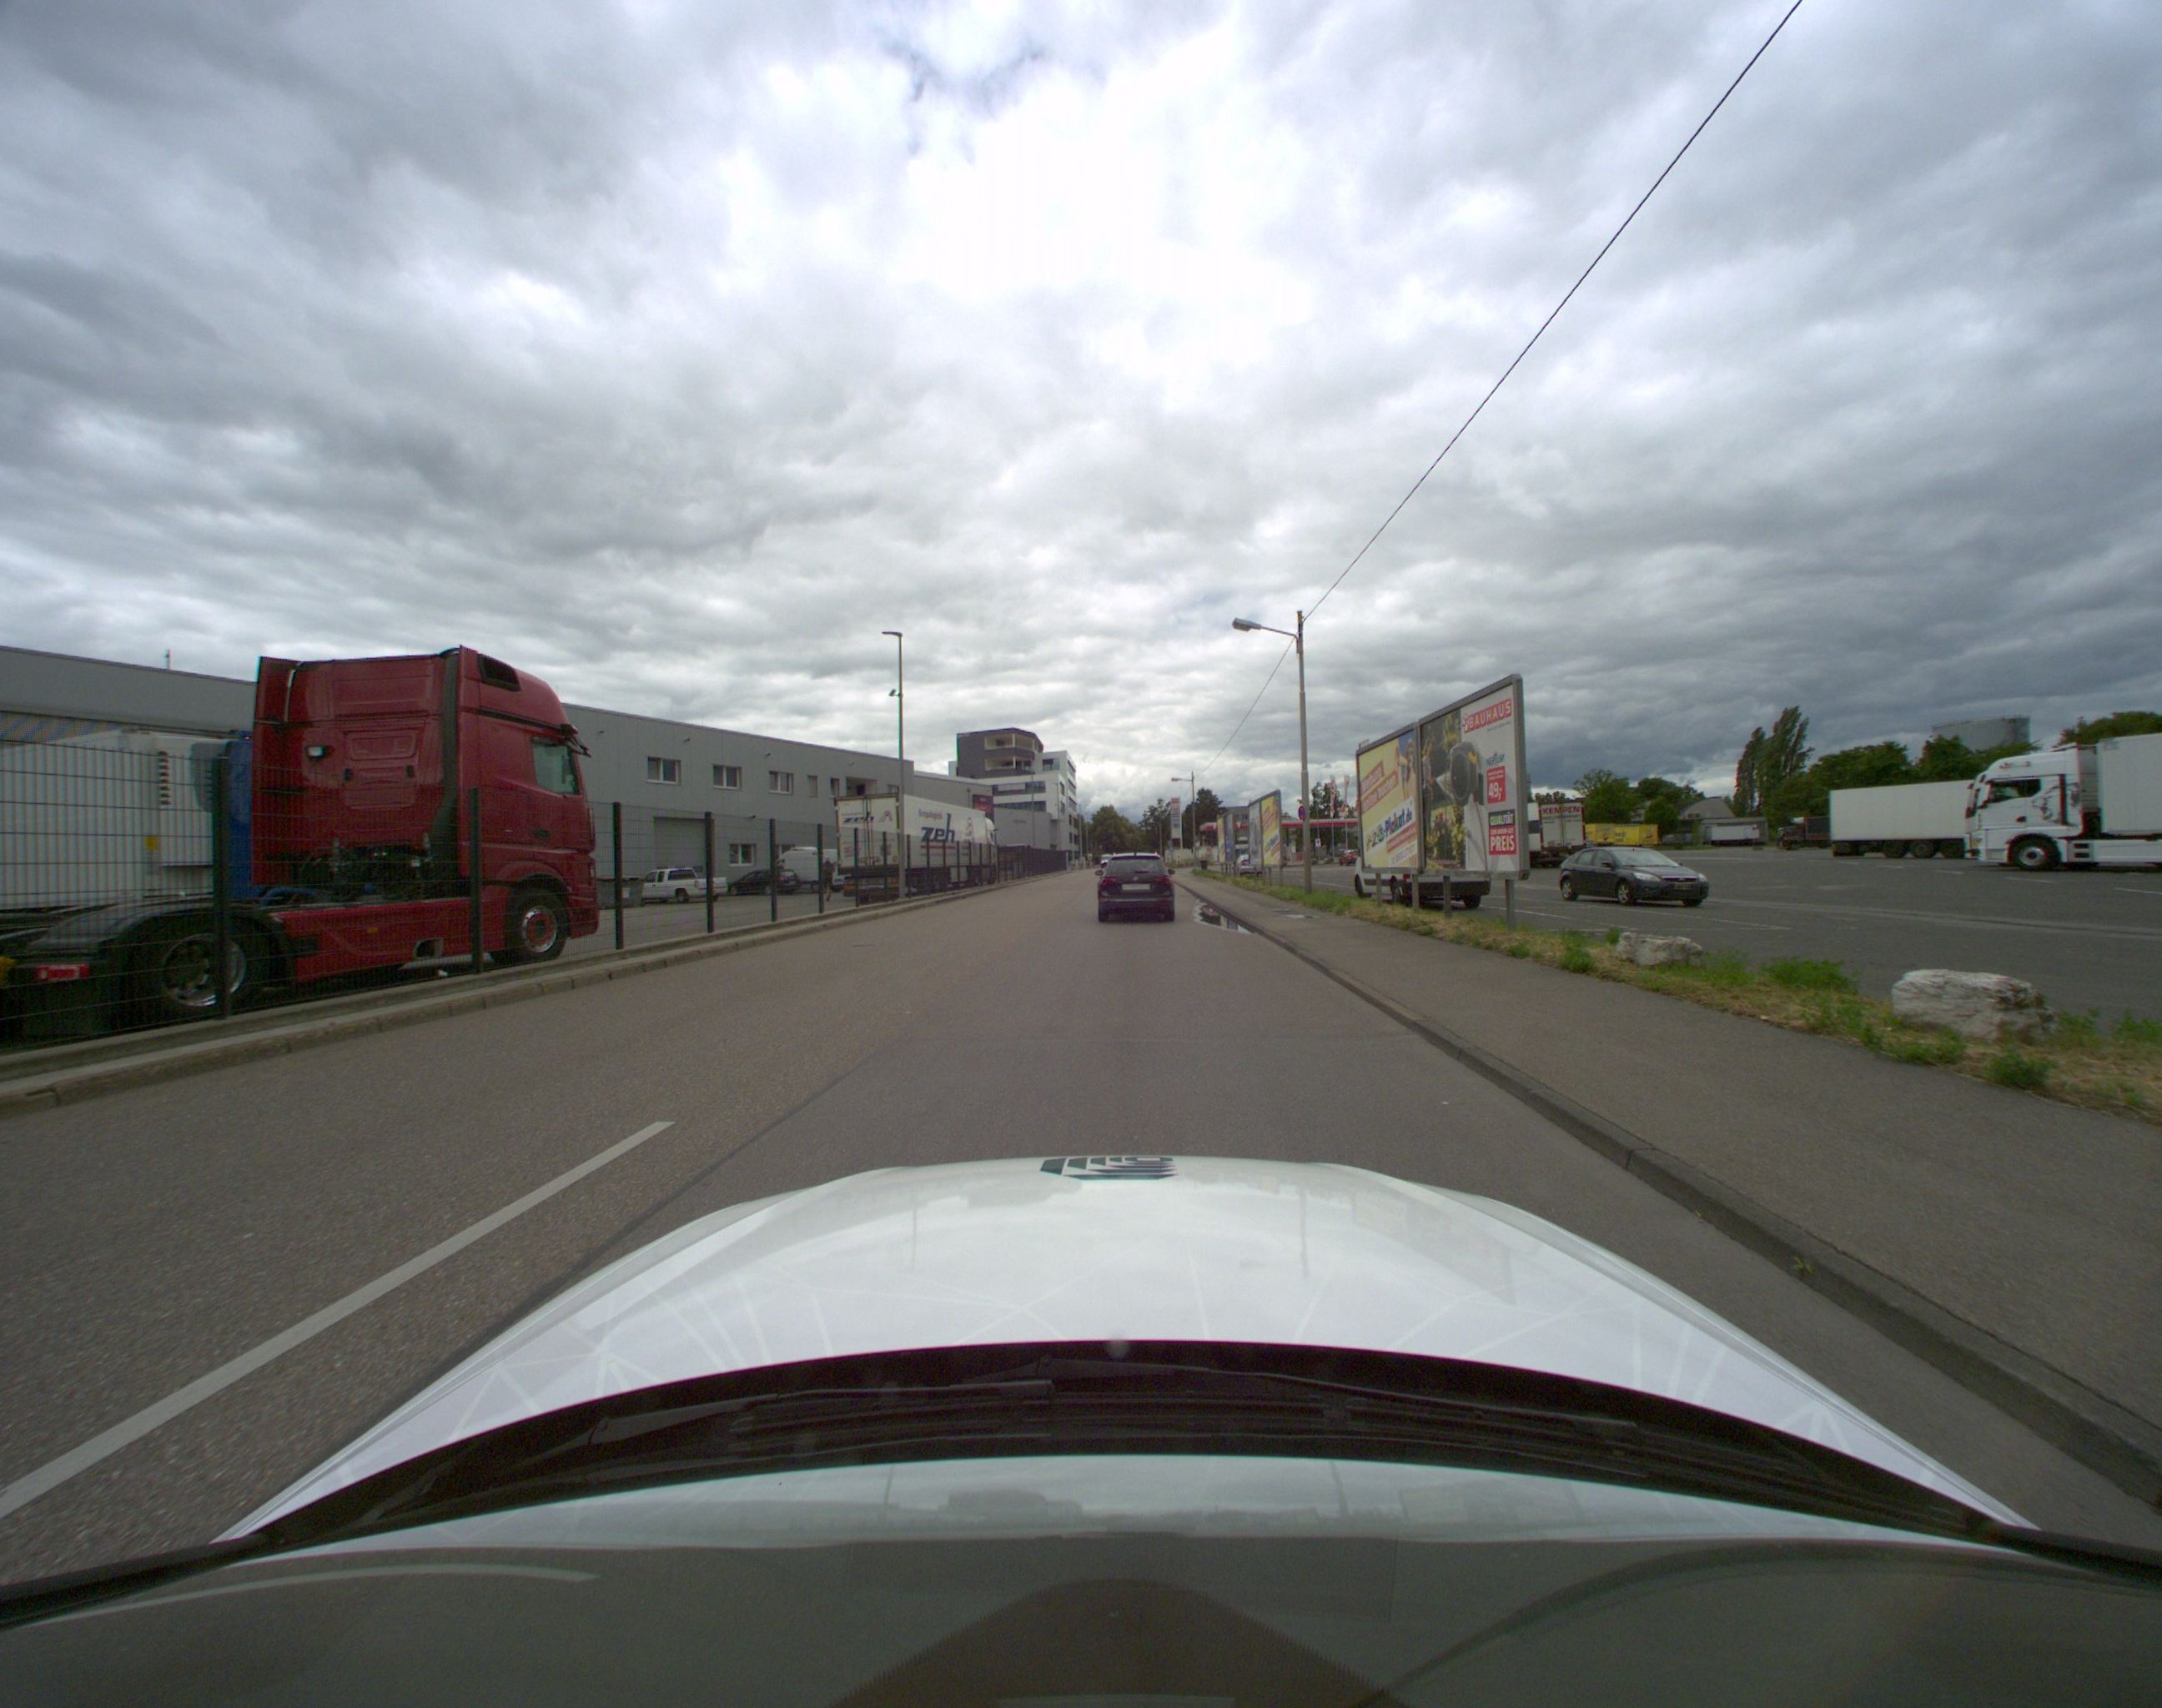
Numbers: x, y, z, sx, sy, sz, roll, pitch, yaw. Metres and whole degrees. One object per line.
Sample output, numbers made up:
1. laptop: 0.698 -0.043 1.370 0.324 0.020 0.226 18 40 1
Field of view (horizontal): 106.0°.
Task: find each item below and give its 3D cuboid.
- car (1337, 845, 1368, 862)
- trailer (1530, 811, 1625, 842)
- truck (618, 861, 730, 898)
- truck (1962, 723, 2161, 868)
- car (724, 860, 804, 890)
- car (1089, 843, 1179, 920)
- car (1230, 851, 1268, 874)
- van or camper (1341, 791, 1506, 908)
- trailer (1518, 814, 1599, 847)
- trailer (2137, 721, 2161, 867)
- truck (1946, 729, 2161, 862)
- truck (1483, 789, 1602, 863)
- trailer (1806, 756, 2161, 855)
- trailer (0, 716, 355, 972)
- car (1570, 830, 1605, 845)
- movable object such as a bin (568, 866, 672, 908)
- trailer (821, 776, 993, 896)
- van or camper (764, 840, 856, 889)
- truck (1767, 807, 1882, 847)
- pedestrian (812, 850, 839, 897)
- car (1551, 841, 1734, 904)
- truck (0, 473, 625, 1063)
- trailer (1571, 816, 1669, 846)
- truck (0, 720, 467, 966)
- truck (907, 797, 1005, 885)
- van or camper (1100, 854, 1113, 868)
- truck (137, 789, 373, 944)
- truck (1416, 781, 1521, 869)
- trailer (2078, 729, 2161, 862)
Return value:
1. car: 27.749 -0.056 83.379 1.986 1.706 4.002 -2 0 2
2. trailer: 68.725 -3.710 113.588 3.581 3.863 18.052 -2 1 5
3. truck: -19.945 1.262 39.889 4.869 1.652 2.240 -2 0 23
4. truck: 31.948 -1.778 26.123 2.781 4.215 4.138 -2 1 -12
5. car: -18.272 1.220 46.915 3.952 1.552 2.011 -2 0 23
6. car: 1.336 0.632 20.520 1.985 1.684 4.375 -2 0 4
7. car: 10.875 0.533 52.907 1.881 1.445 4.433 0 0 4
8. van or camper: 8.873 -0.100 21.871 2.245 2.647 6.122 -2 0 5
9. trailer: 64.298 -3.102 110.329 2.858 4.150 14.936 -2 1 3
10. trailer: 33.321 -1.728 19.871 2.762 4.190 8.901 -2 1 -13
11. truck: 34.790 -1.911 28.700 2.784 4.214 5.211 -2 1 -16
12. truck: 28.734 -1.629 51.254 3.291 4.145 8.528 -2 0 6
13. trailer: 46.067 -2.165 41.747 3.101 4.207 14.365 -2 1 -11
14. trailer: -21.572 0.028 16.859 13.861 4.183 3.050 -2 0 18
15. car: 61.253 -1.998 98.569 1.984 1.618 4.005 -2 0 4
16. movable object such as a bin: -20.954 1.498 37.031 3.950 1.736 2.169 -2 0 25
17. trailer: -7.355 -0.686 37.784 3.117 4.260 14.044 -6 -1 6
18. van or camper: -16.330 0.651 49.073 4.928 2.762 2.115 -2 0 22
19. truck: 87.696 -3.144 96.391 9.532 4.390 3.412 -1 1 32
20. pedestrian: -10.170 0.761 32.440 0.694 1.829 0.826 -2 0 8
21. car: 14.239 0.428 21.013 1.881 1.445 4.432 0 0 3
22. truck: -8.531 -0.558 8.673 2.908 4.020 6.951 -2 0 5
23. trailer: 77.806 -3.268 118.356 3.581 3.863 18.052 -2 1 5
24. truck: -15.484 -0.240 15.198 5.599 4.020 2.920 -2 0 -11
25. truck: -6.597 -0.654 44.298 3.112 4.116 6.955 -6 -1 7
26. van or camper: 4.401 1.150 139.410 1.985 2.256 4.004 -2 0 4
27. truck: -23.488 0.372 23.163 5.852 3.928 2.819 -2 0 25
28. truck: 24.723 -1.735 52.582 3.291 5.093 8.527 -2 0 6
29. trailer: 36.359 -1.866 23.023 2.765 4.190 10.085 -2 1 -15
